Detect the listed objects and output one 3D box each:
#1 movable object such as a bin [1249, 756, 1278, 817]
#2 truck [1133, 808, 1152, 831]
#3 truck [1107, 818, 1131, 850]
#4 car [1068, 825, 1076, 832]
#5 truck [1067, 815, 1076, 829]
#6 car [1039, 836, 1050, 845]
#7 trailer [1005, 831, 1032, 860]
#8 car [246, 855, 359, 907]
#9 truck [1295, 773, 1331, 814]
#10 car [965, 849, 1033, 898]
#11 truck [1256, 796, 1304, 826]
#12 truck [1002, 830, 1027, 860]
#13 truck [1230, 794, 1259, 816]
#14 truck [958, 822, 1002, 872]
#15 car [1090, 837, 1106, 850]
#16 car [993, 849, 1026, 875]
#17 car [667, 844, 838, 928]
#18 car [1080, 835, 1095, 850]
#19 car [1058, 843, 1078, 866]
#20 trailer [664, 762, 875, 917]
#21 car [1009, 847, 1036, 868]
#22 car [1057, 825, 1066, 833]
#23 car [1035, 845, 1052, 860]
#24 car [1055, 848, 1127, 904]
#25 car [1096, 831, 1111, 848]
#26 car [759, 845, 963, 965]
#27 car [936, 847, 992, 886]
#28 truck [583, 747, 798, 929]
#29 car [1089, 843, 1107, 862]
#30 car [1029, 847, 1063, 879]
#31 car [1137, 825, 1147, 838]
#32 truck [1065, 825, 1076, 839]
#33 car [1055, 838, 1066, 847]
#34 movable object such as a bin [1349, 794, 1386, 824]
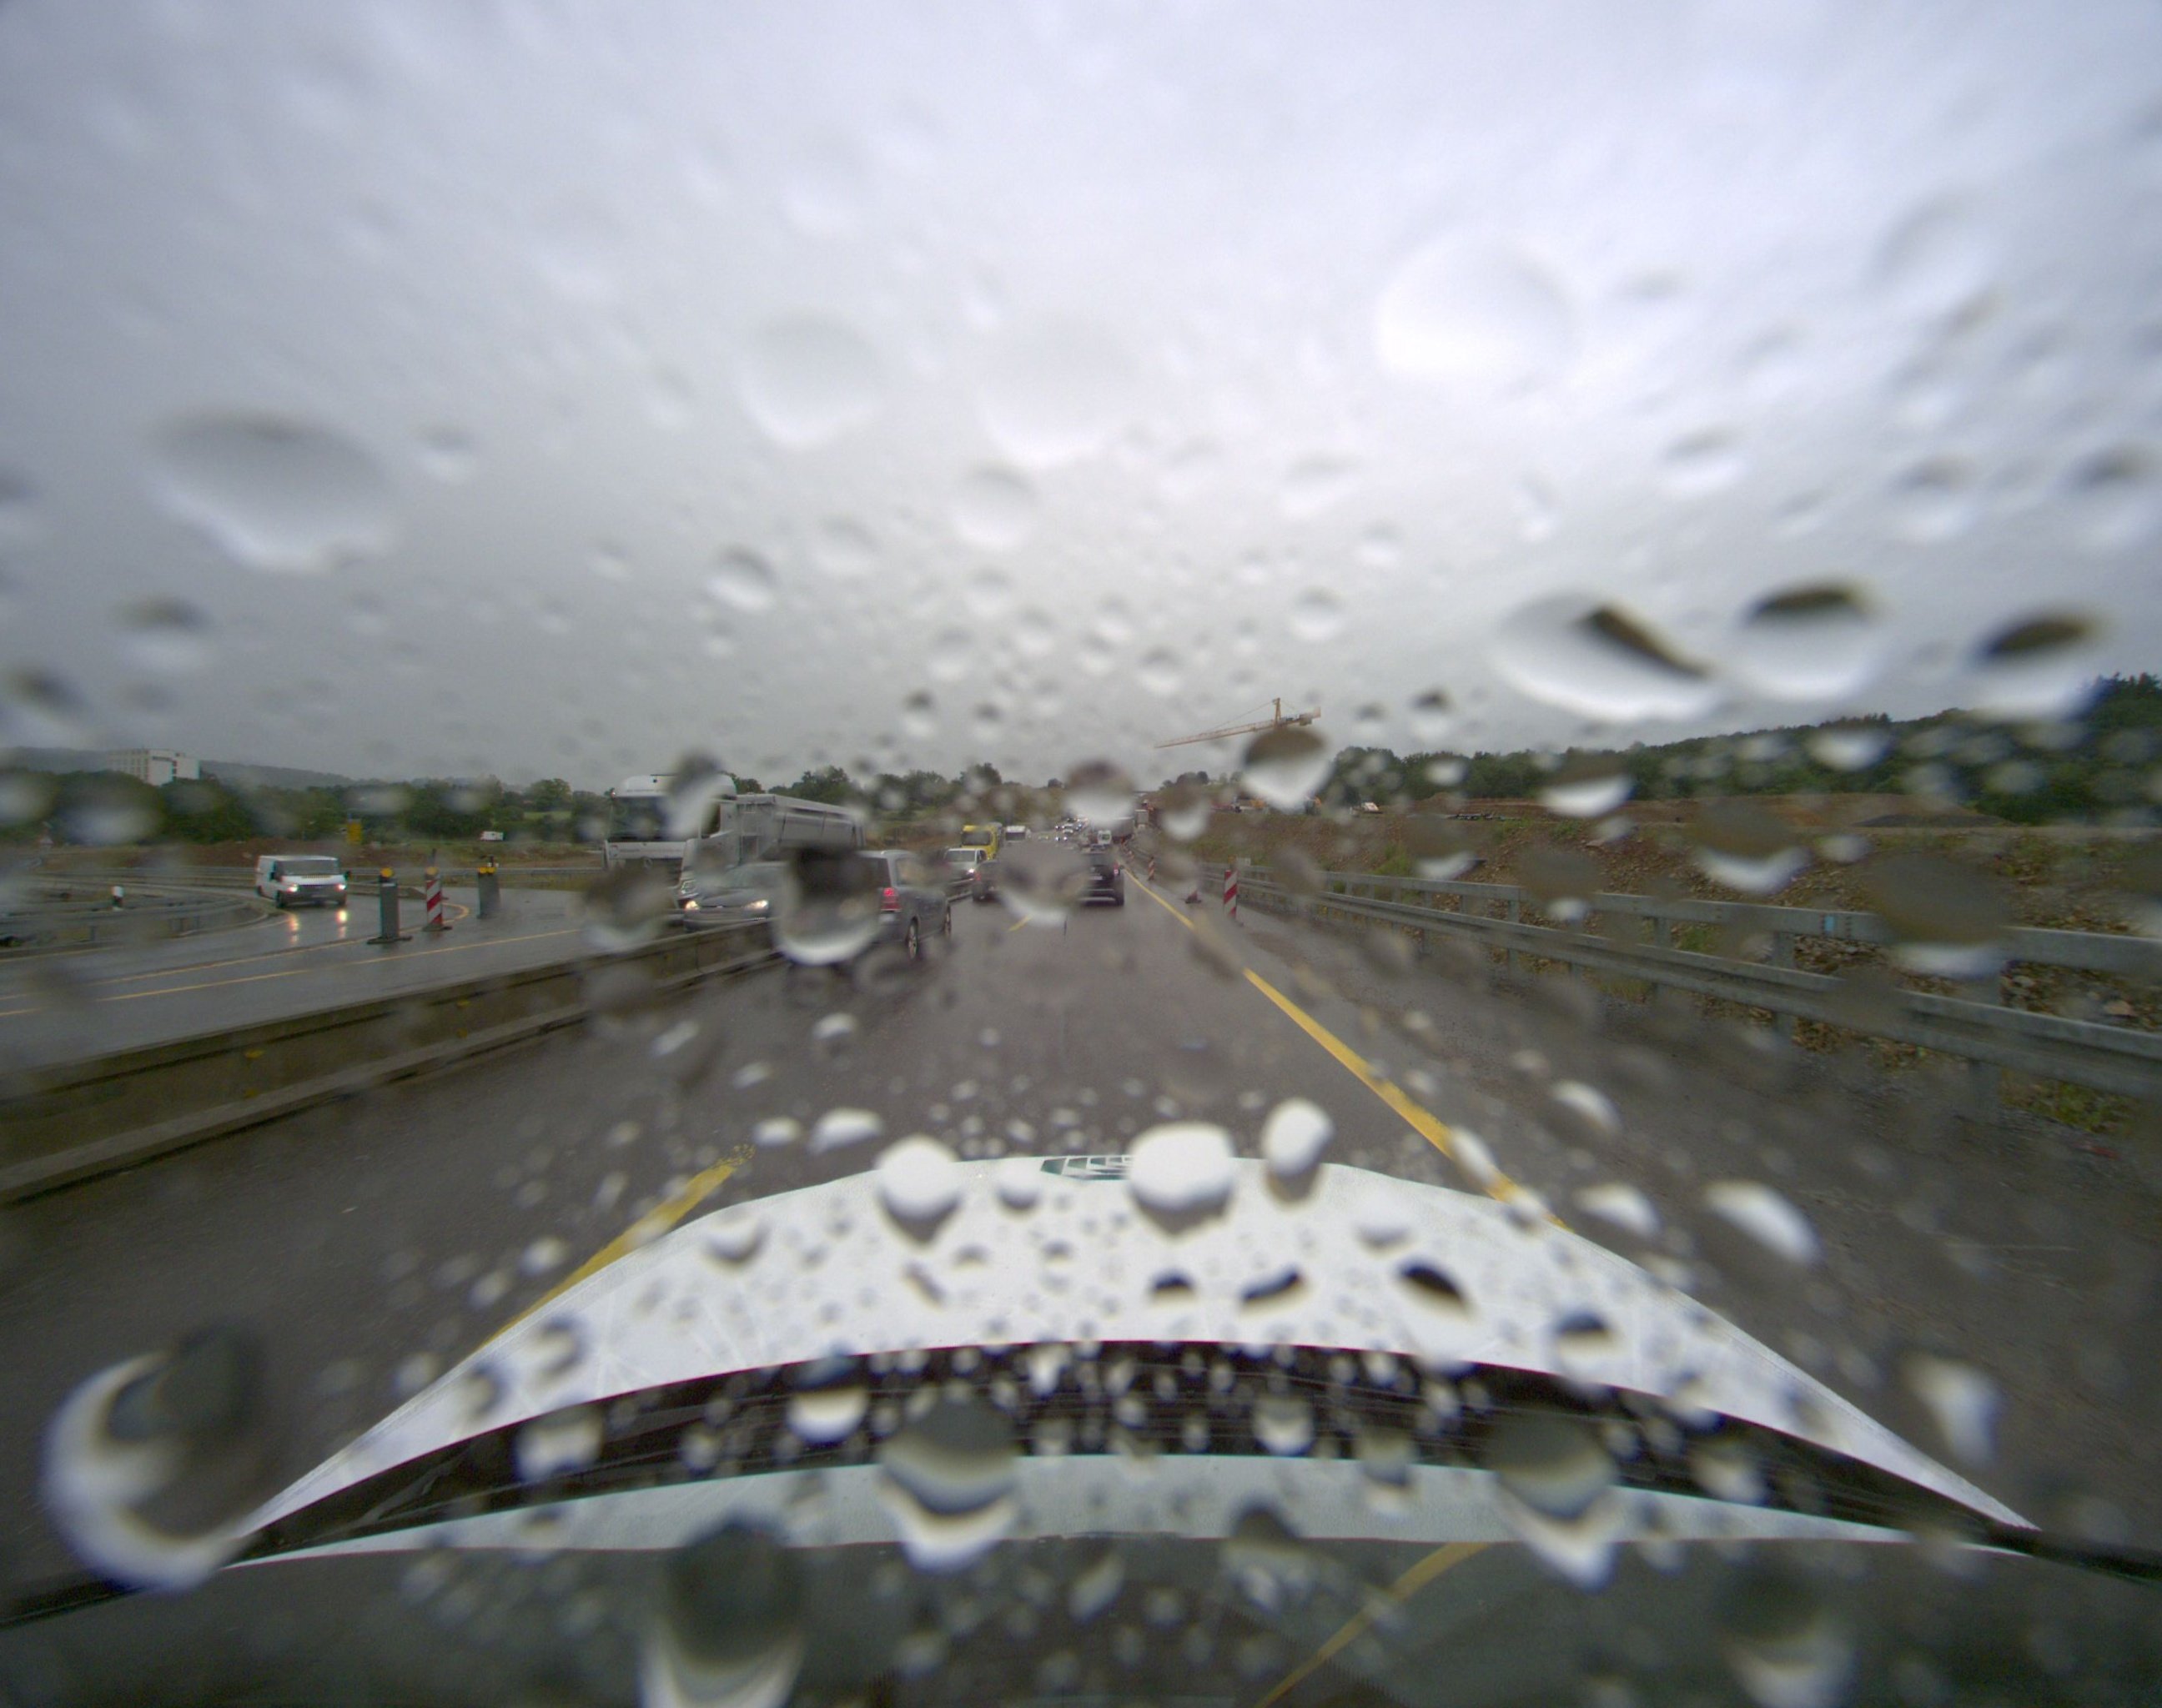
[{"bbox_3d":[35.098,-12.670,156.255,4.683,10.841,10.347,0,0,16],"label":"movable object such as a bin"},{"bbox_3d":[15.062,-8.422,199.374,3.791,5.042,12.923,0,0,1],"label":"truck"},{"bbox_3d":[6.656,-3.347,140.763,3.083,5.425,9.467,0,0,9],"label":"truck"},{"bbox_3d":[-2.011,-5.668,183.600,1.780,1.538,4.313,-1,1,1],"label":"car"},{"bbox_3d":[-2.706,-9.303,238.161,2.633,3.969,9.215,0,3,0],"label":"truck"},{"bbox_3d":[-6.700,-2.526,148.242,1.781,1.546,4.001,0,1,1],"label":"car"},{"bbox_3d":[-8.374,-1.170,109.986,2.611,3.677,12.005,0,0,1],"label":"trailer"},{"bbox_3d":[-32.446,1.063,33.919,4.980,2.013,2.287,0,0,33],"label":"car"},{"bbox_3d":[25.902,-6.710,91.177,2.365,4.218,5.980,0,0,1],"label":"truck"},{"bbox_3d":[-2.795,0.622,28.666,1.987,1.600,4.140,0,0,0],"label":"car"},{"bbox_3d":[21.356,-4.546,87.780,3.381,2.875,8.966,0,0,3],"label":"truck"},{"bbox_3d":[-8.433,-1.114,104.119,2.611,3.677,6.596,0,0,1],"label":"truck"},{"bbox_3d":[21.899,-6.477,109.346,2.636,2.554,6.985,0,0,1],"label":"truck"},{"bbox_3d":[-8.488,-0.593,68.974,2.739,4.062,6.150,0,0,1],"label":"truck"},{"bbox_3d":[2.931,-1.809,138.487,1.981,2.163,4.152,0,0,10],"label":"car"},{"bbox_3d":[-5.202,0.557,59.877,1.781,1.805,5.191,-2,0,1],"label":"car"},{"bbox_3d":[-6.329,0.543,16.213,1.703,1.453,4.001,0,0,1],"label":"car"},{"bbox_3d":[1.069,-1.784,127.227,1.984,2.162,4.145,0,0,4],"label":"car"},{"bbox_3d":[-1.330,0.029,81.727,1.988,2.163,4.137,0,0,-2],"label":"car"},{"bbox_3d":[-9.384,-0.402,26.180,2.676,3.963,9.822,-2,0,1],"label":"trailer"},{"bbox_3d":[-5.214,0.289,73.654,1.986,1.759,4.689,0,1,1],"label":"car"},{"bbox_3d":[-4.450,-5.741,187.309,1.780,1.538,4.313,-1,1,1],"label":"car"},{"bbox_3d":[-4.785,-0.231,103.669,1.859,1.800,4.163,0,0,1],"label":"car"},{"bbox_3d":[0.356,0.630,25.433,2.073,1.600,4.142,0,0,2],"label":"car"},{"bbox_3d":[3.324,-2.094,119.055,1.985,2.484,4.986,0,0,3],"label":"car"},{"bbox_3d":[-3.259,0.674,13.012,1.986,1.600,4.142,0,0,2],"label":"car"},{"bbox_3d":[-5.806,0.567,40.998,1.868,1.792,5.361,-1,0,1],"label":"car"},{"bbox_3d":[-9.520,-0.373,20.570,2.676,3.927,5.275,-2,0,1],"label":"truck"},{"bbox_3d":[1.996,-0.128,95.548,1.986,2.162,4.143,0,0,2],"label":"car"},{"bbox_3d":[-2.254,0.580,53.345,1.987,2.013,3.894,0,0,0],"label":"car"},{"bbox_3d":[12.911,-4.749,172.533,1.986,2.484,4.744,0,0,2],"label":"car"},{"bbox_3d":[-2.080,-4.400,164.972,2.071,2.576,5.963,0,0,1],"label":"truck"},{"bbox_3d":[-3.648,-1.997,143.527,1.766,1.504,4.680,-1,1,1],"label":"car"},{"bbox_3d":[37.338,-5.846,106.486,2.334,3.599,6.556,0,0,-2],"label":"movable object such as a bin"}]
